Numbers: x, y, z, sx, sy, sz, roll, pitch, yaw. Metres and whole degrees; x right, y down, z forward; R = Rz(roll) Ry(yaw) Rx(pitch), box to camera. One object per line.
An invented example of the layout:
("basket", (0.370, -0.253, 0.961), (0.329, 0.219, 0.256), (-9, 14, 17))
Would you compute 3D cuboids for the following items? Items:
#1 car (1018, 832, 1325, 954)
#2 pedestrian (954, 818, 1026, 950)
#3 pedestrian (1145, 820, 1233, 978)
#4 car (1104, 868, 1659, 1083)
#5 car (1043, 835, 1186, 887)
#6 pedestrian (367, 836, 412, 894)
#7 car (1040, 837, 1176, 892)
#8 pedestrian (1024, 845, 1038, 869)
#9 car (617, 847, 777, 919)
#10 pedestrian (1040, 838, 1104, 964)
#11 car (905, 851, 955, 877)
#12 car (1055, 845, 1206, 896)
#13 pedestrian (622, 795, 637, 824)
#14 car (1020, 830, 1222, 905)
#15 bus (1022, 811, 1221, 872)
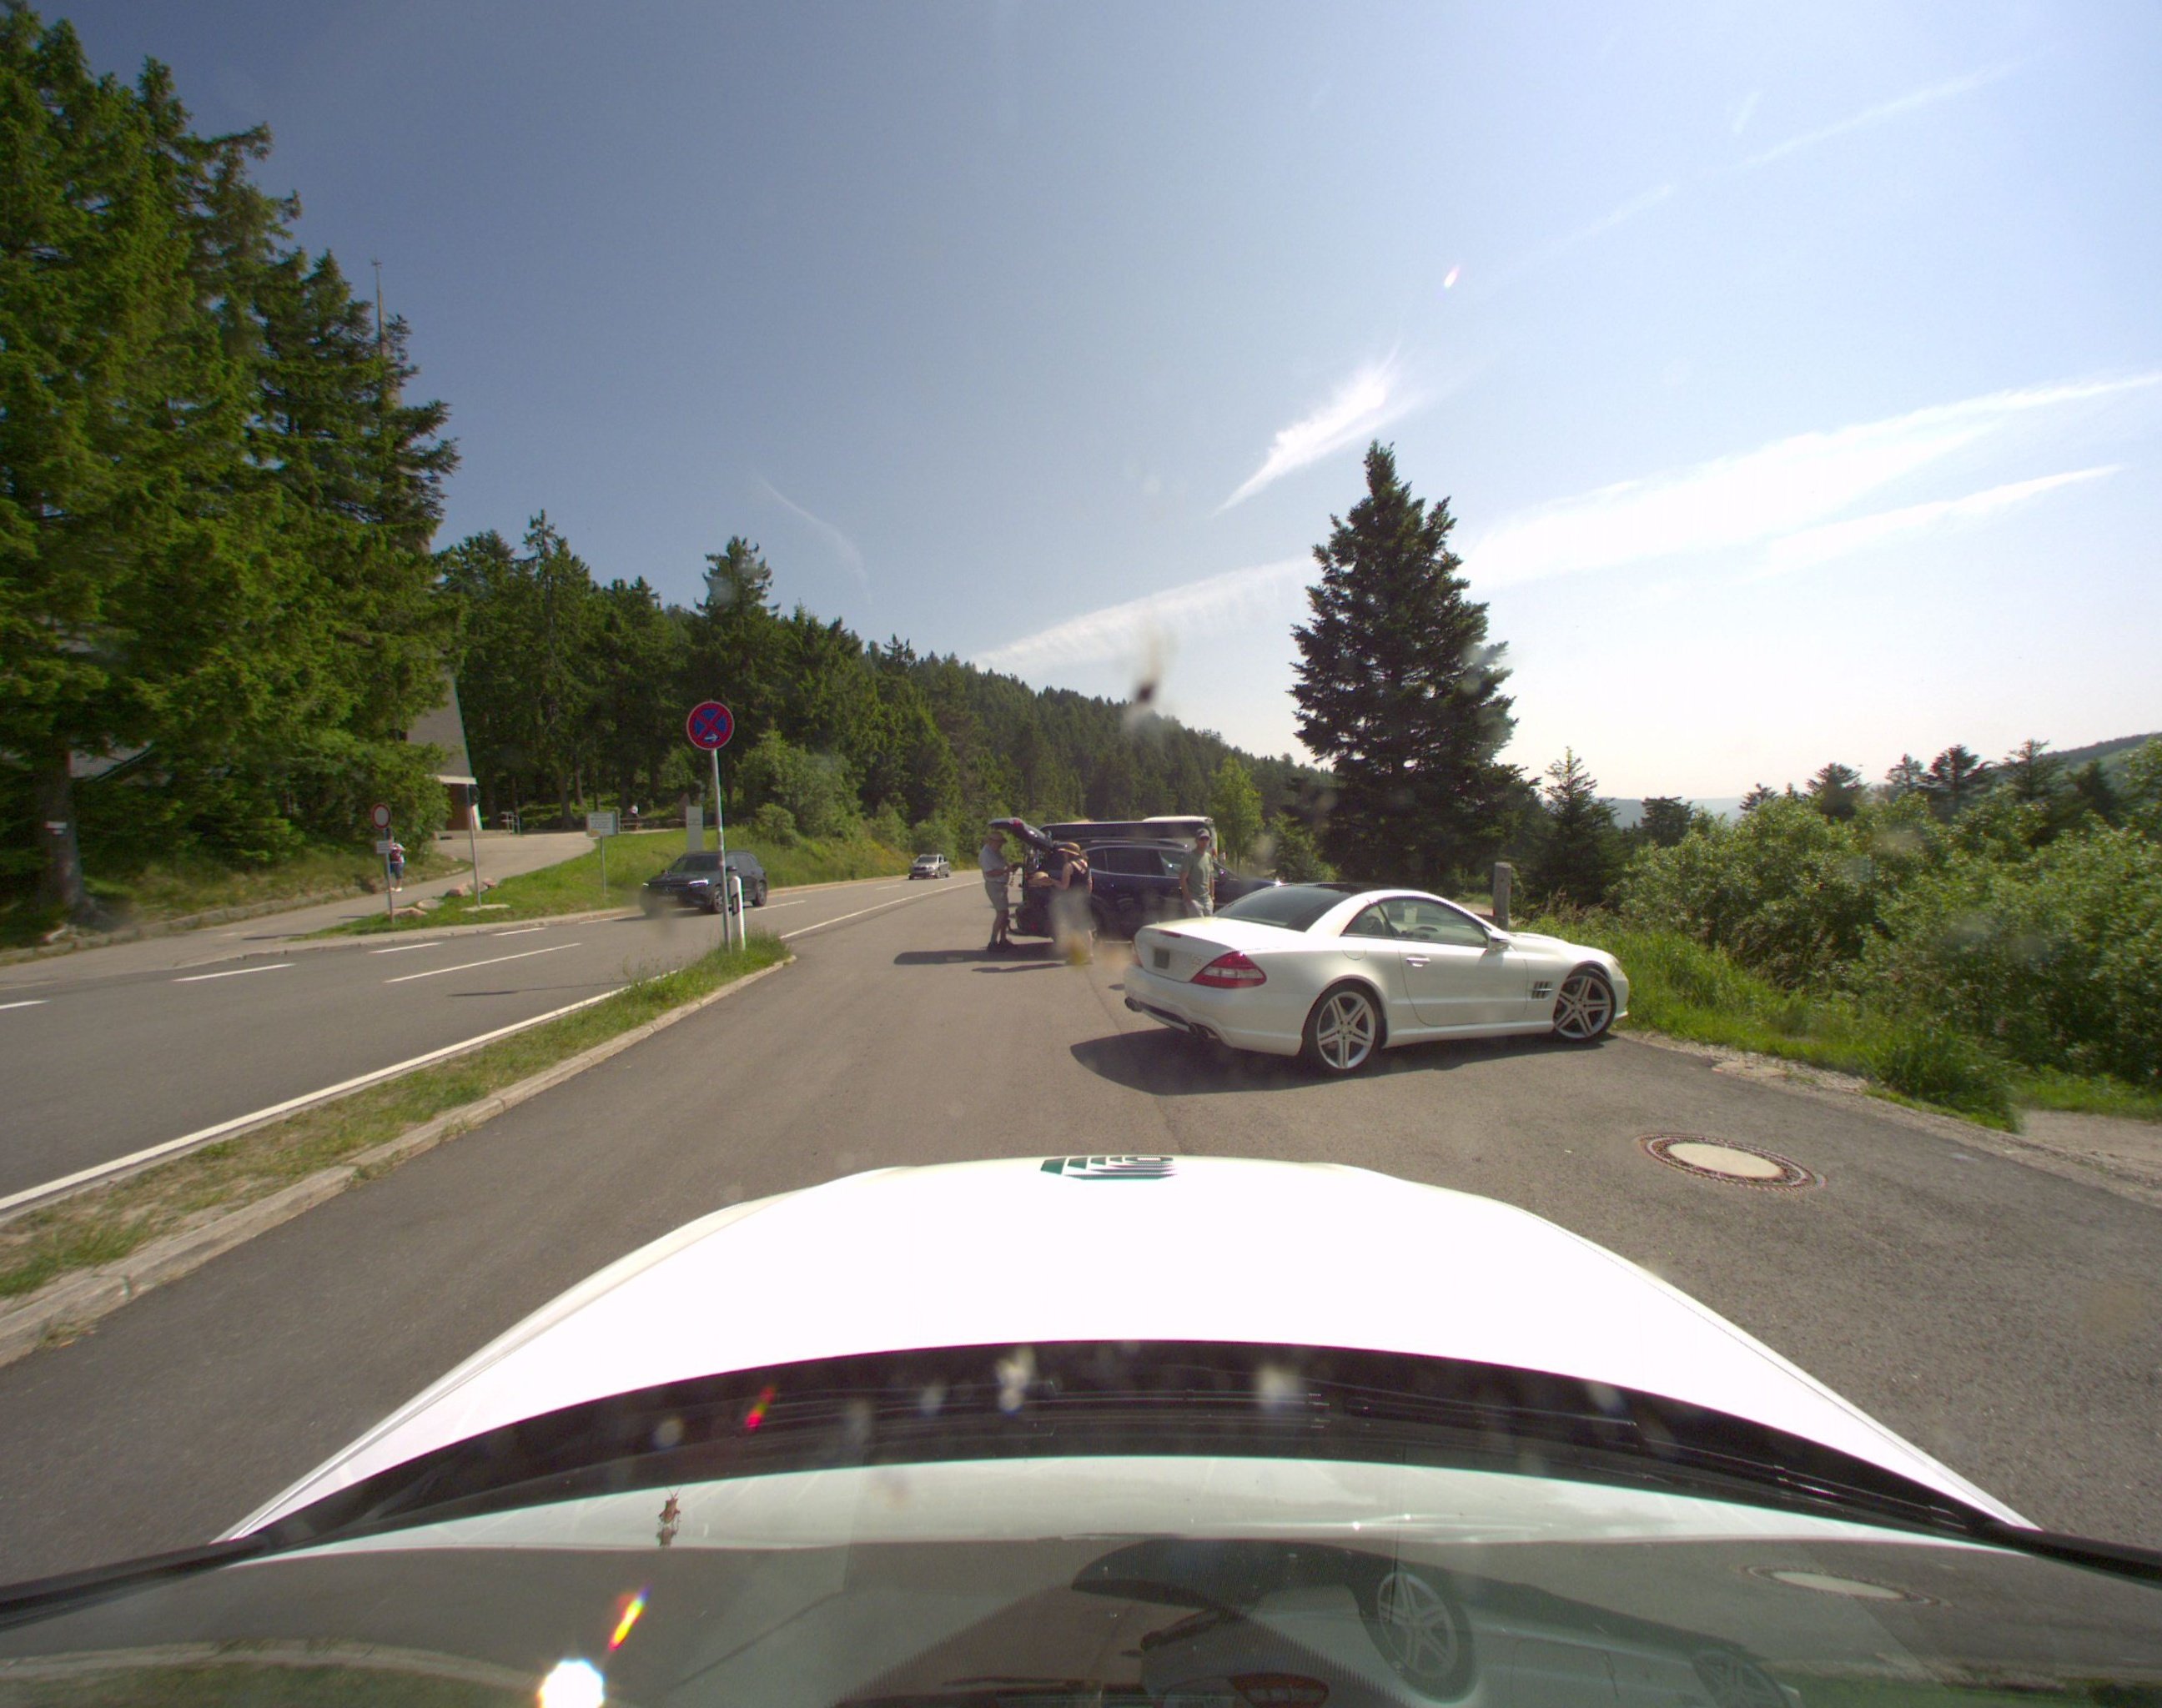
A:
("car", (1.251, 0.569, 12.371), (4.339, 1.626, 1.866), (1, -1, -6))
("pedestrian", (-1.340, 0.408, 12.061), (0.728, 1.870, 0.763), (1, 3, 29))
("pedestrian", (1.295, 0.519, 9.787), (0.751, 1.800, 0.728), (0, -1, -33))
("car", (2.557, 0.807, 6.845), (4.417, 1.296, 1.742), (1, 1, -24))
("car", (1.187, 0.243, 29.762), (5.019, 1.651, 2.047), (-2, 0, -1))
("pedestrian", (-20.761, 0.330, 24.473), (0.720, 1.681, 0.679), (-3, 0, -13))
("car", (0.859, 0.332, 26.640), (4.231, 1.553, 1.837), (-2, 0, -1))
("pedestrian", (-3.268, 0.186, 53.383), (0.766, 1.585, 0.774), (-2, 0, 6))
("car", (-10.145, 0.678, 22.013), (1.986, 1.647, 4.569), (-3, 1, 1))
("pedestrian", (-0.123, 0.599, 10.773), (0.716, 1.613, 0.533), (0, -1, -21))
("car", (-9.138, 0.589, 49.729), (1.871, 1.474, 4.718), (-1, 0, 3))
("car", (1.391, 0.447, 23.966), (4.231, 1.269, 1.837), (-2, 0, -1))
("pedestrian", (-30.410, -2.984, 54.799), (0.674, 1.877, 0.545), (-3, 0, 32))
("car", (1.010, 0.324, 21.071), (4.931, 1.695, 1.946), (-2, 0, 1))
("bus", (2.774, -0.803, 55.058), (13.015, 3.532, 3.052), (-2, 0, 9))
